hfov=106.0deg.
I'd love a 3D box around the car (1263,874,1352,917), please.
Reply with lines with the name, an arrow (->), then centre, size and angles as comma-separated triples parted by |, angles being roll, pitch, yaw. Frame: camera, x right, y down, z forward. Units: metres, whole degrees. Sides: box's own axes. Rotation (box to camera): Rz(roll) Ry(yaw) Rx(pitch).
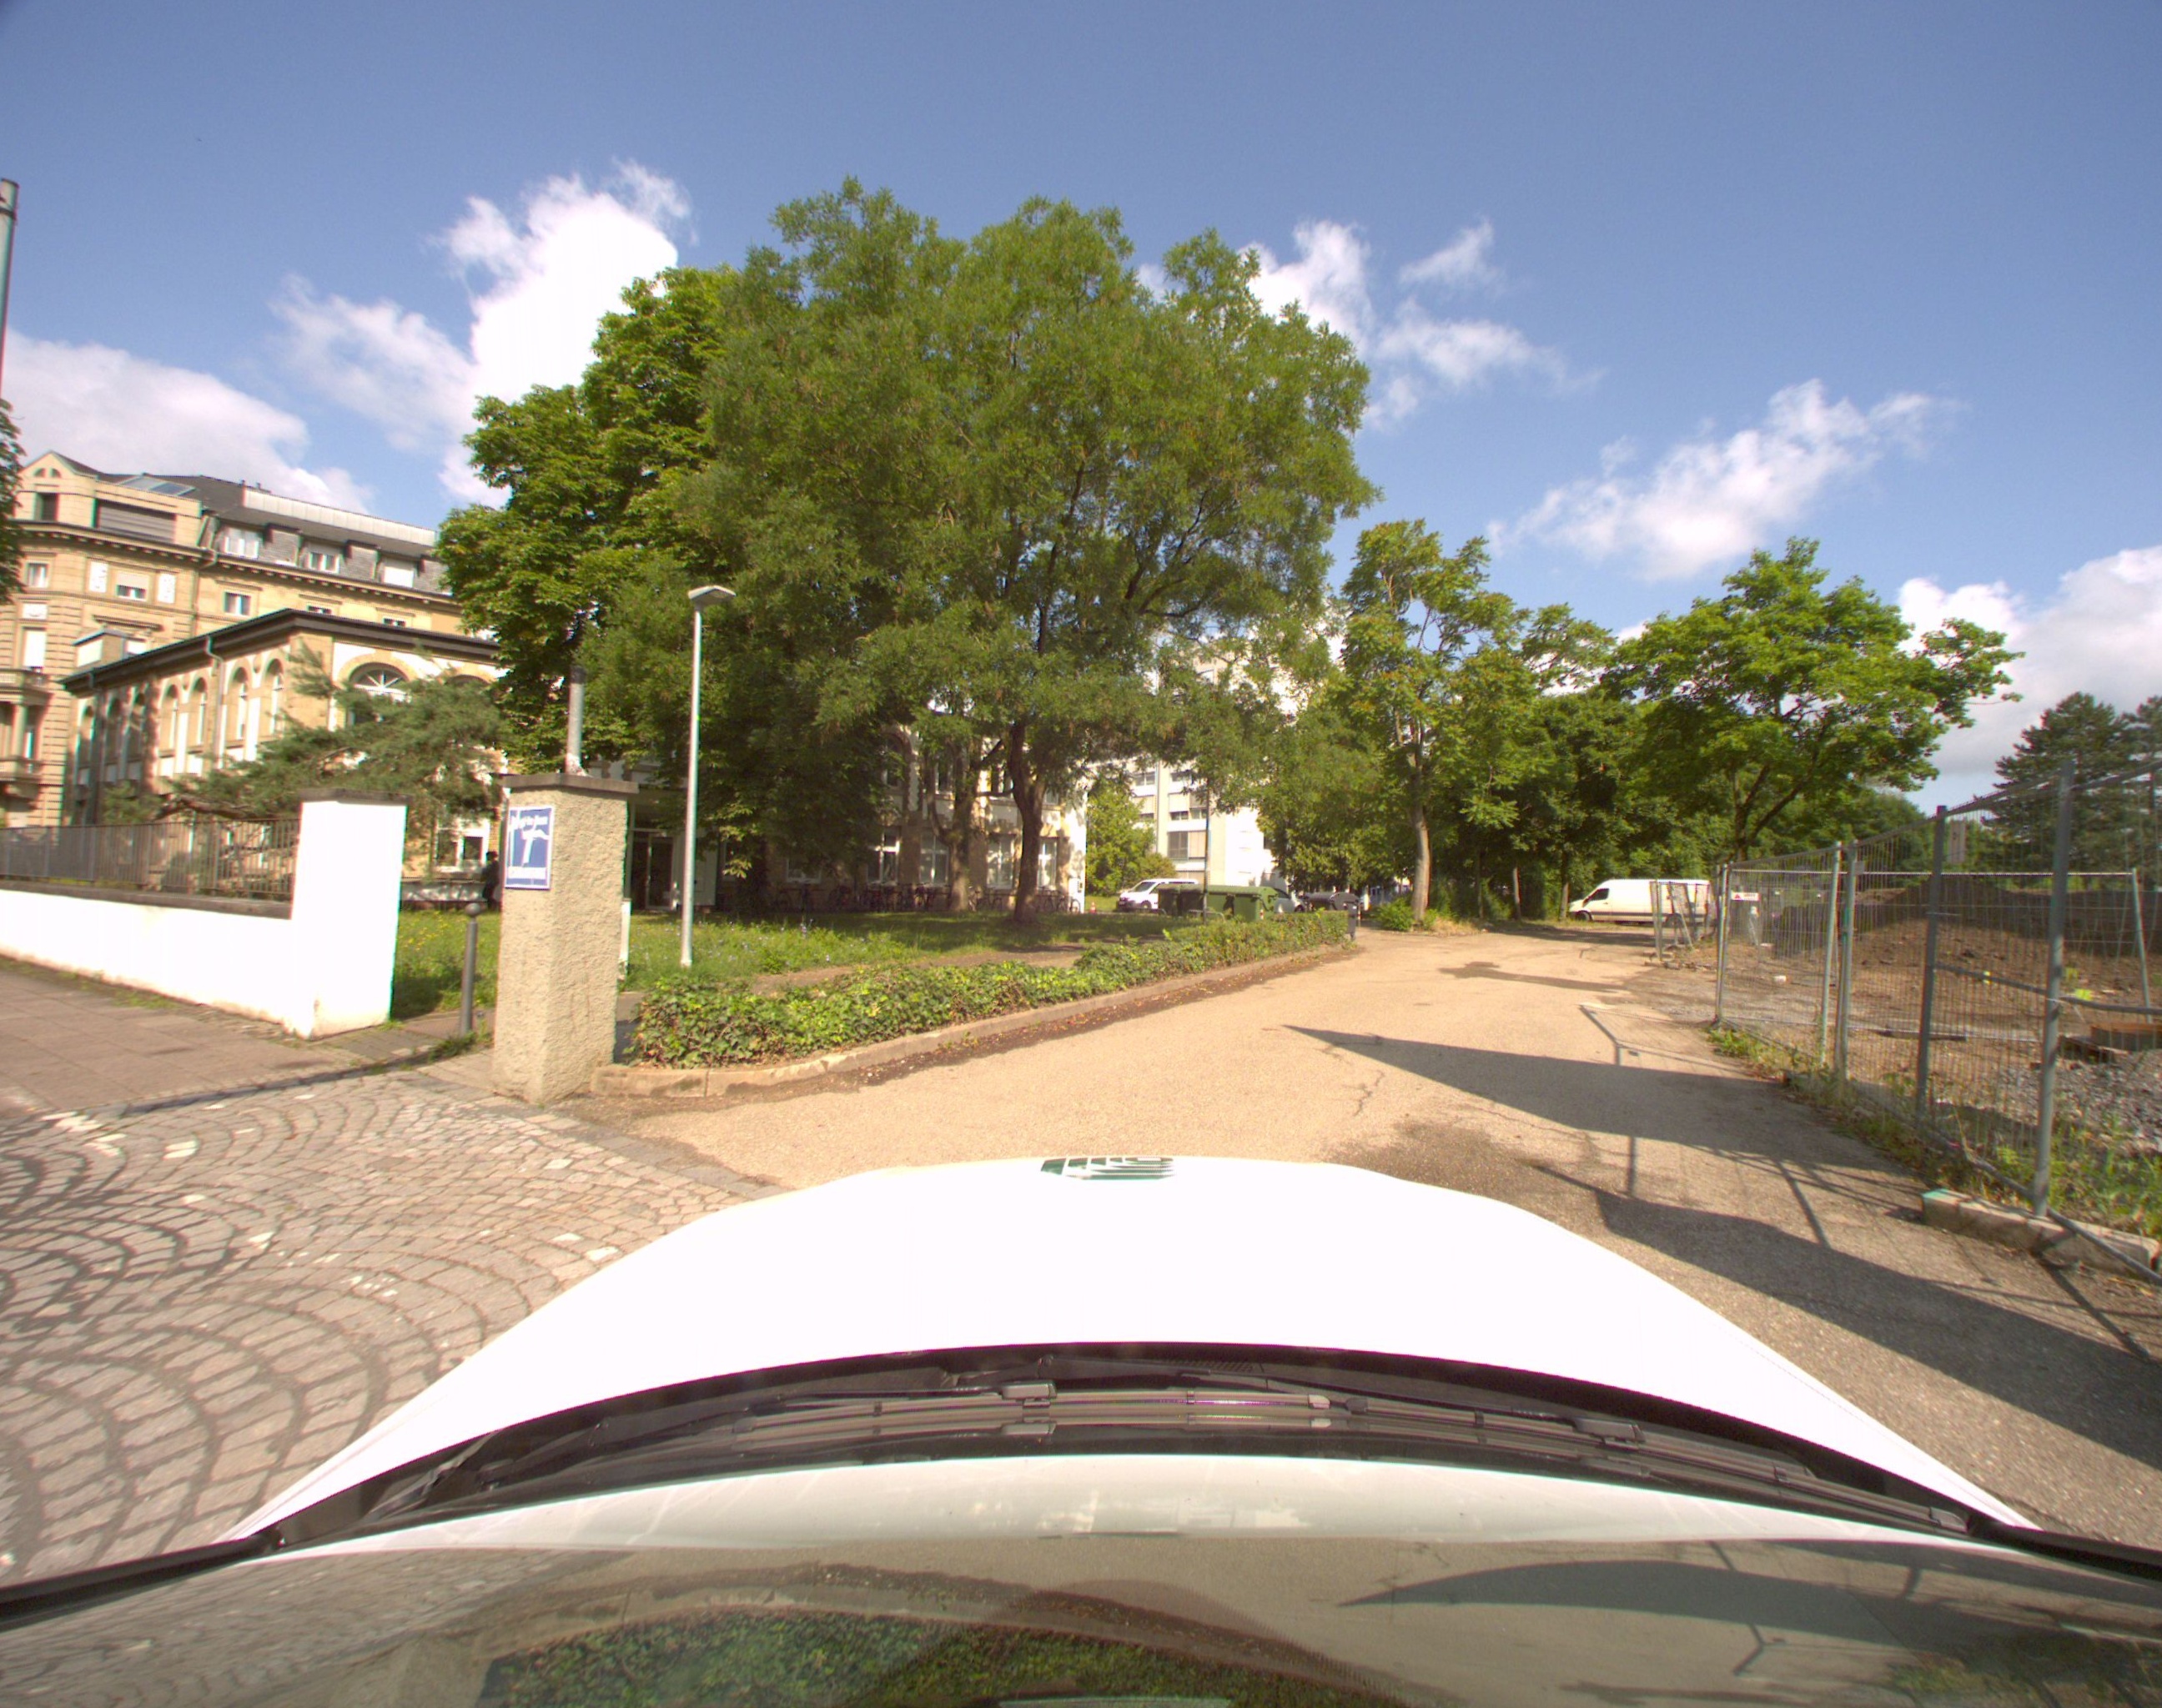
car -> 10.360, 1.857, 37.131 | 3.934, 1.419, 1.740 | -7, 3, -35

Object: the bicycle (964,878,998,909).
bicycle -> -3.860, 1.506, 31.290 | 0.421, 1.056, 2.047 | -8, 4, -30

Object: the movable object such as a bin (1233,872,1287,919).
movable object such as a bin -> 5.994, 1.376, 27.303 | 1.109, 1.451, 1.327 | -4, 2, -40

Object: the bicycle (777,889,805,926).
bicycle -> -9.774, 1.774, 27.433 | 0.421, 1.056, 2.047 | -8, 4, -30

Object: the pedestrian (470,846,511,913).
pedestrian -> -15.536, 0.656, 21.442 | 0.776, 1.677, 0.800 | -4, 2, -35

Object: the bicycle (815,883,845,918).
bicycle -> -8.613, 1.569, 27.936 | 0.421, 1.056, 2.047 | -8, 4, -30

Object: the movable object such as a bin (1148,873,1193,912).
movable object such as a bin -> 3.362, 1.448, 30.696 | 0.951, 1.349, 1.365 | -4, 2, -40

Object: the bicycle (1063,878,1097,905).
bicycle -> -0.051, 1.522, 33.257 | 0.321, 1.037, 1.839 | -4, 1, -35

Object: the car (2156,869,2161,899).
car -> 57.653, 1.569, 40.577 | 1.852, 1.428, 4.819 | -4, 2, -32

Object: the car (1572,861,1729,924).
car -> 31.256, 1.996, 44.854 | 6.886, 3.046, 2.013 | 0, 4, 40

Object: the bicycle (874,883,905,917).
bicycle -> -6.865, 1.614, 29.140 | 0.421, 1.056, 2.047 | -8, 4, -30

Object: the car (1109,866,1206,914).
car -> 4.197, 1.928, 44.349 | 4.974, 1.964, 1.979 | -6, 1, -33

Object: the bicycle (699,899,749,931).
bicycle -> -11.839, 2.006, 27.050 | 1.398, 0.820, 0.415 | -8, 4, -33

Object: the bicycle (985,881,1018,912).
bicycle -> -3.105, 1.648, 31.739 | 0.421, 1.056, 2.047 | -3, 2, -30

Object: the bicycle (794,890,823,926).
bicycle -> -9.274, 1.812, 27.660 | 0.421, 1.056, 2.047 | -8, 4, -30

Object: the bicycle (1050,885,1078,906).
bicycle -> -0.713, 1.684, 33.179 | 0.321, 0.705, 1.843 | -3, 2, -27

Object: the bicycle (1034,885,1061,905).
bicycle -> -1.364, 1.656, 32.790 | 0.321, 0.705, 1.843 | 3, -1, -27

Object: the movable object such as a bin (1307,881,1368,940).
movable object such as a bin -> 7.526, 1.631, 23.954 | 1.247, 1.481, 1.290 | -2, 4, -14

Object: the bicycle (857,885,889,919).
bicycle -> -7.365, 1.668, 28.773 | 0.421, 1.056, 2.047 | -8, 4, -30

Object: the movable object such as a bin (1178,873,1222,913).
movable object such as a bin -> 4.331, 1.405, 29.631 | 0.951, 1.349, 1.219 | -4, 2, -40

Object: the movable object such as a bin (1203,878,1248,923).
movable object such as a bin -> 5.051, 1.605, 28.454 | 0.885, 1.451, 1.219 | -4, 2, -40

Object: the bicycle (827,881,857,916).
bicycle -> -8.308, 1.523, 28.264 | 0.421, 1.056, 2.047 | -8, 4, -30

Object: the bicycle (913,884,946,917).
bicycle -> -5.616, 1.697, 30.075 | 0.421, 1.056, 2.047 | -8, 4, -30

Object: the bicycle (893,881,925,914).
bicycle -> -6.252, 1.550, 29.526 | 0.421, 1.056, 2.047 | -8, 4, -30
